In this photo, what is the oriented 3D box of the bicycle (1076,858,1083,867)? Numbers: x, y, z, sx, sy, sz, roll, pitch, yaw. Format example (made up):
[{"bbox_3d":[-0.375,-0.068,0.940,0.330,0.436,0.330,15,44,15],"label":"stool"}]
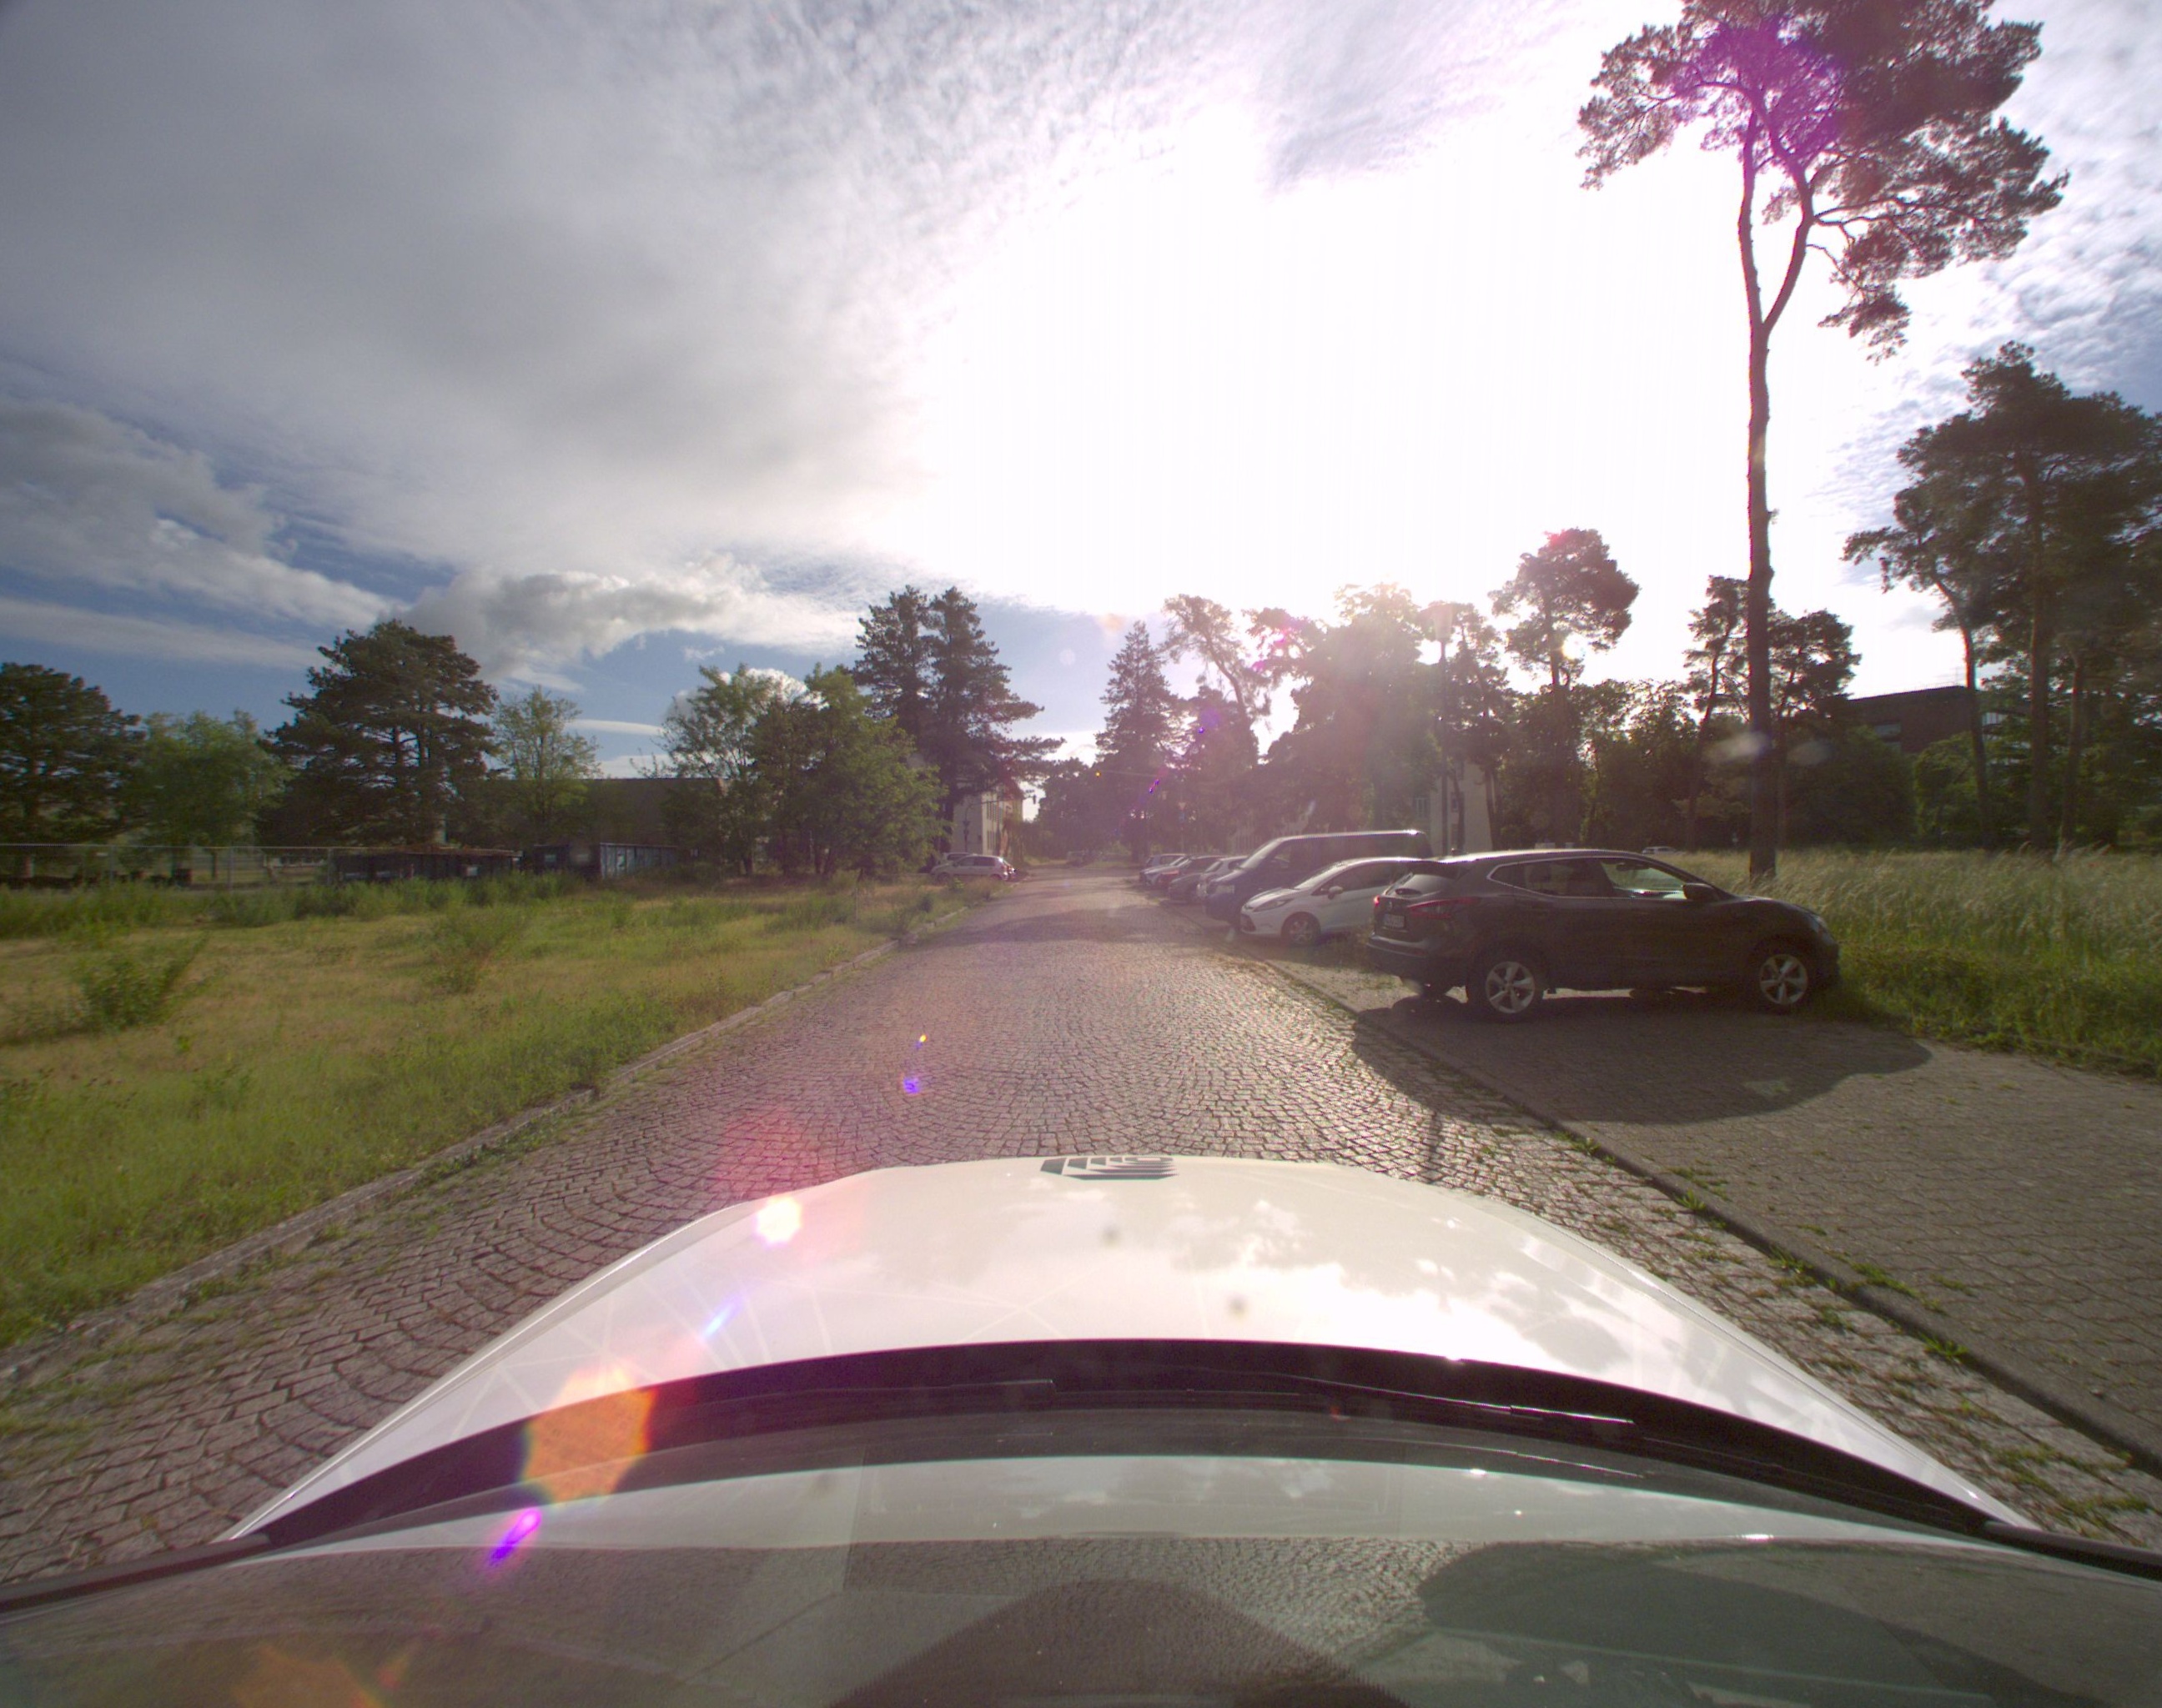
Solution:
[{"bbox_3d":[-0.199,0.929,88.508,0.726,0.999,1.798,-1,1,-1],"label":"bicycle"}]

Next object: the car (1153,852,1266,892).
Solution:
[{"bbox_3d":[5.237,0.720,33.466,4.328,1.473,1.739,-1,-1,-1],"label":"car"}]

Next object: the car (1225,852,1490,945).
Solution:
[{"bbox_3d":[4.902,0.760,14.800,4.183,1.470,1.805,-1,-1,-5],"label":"car"}]

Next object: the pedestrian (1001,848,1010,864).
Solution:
[{"bbox_3d":[-9.647,0.271,104.249,0.982,1.963,0.932,-1,-1,-1],"label":"pedestrian"}]

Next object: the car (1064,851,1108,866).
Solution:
[{"bbox_3d":[0.673,0.575,108.052,5.510,1.916,2.243,0,-1,-15],"label":"car"}]

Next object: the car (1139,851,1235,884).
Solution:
[{"bbox_3d":[5.291,0.680,41.141,4.533,1.505,1.931,-1,-1,-3],"label":"car"}]

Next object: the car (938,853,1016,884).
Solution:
[{"bbox_3d":[-5.394,0.760,42.678,3.818,1.429,1.857,2,-1,-2],"label":"car"}]

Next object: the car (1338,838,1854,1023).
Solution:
[{"bbox_3d":[5.071,0.708,8.449,4.179,1.589,1.876,-1,-1,-2],"label":"car"}]

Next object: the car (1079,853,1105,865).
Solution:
[{"bbox_3d":[1.375,0.659,104.501,3.036,1.465,1.712,0,-1,-14],"label":"car"}]

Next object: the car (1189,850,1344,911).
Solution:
[{"bbox_3d":[5.085,0.715,22.668,3.862,1.530,1.807,-1,-1,-1],"label":"car"}]

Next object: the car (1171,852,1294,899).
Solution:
[{"bbox_3d":[5.230,0.731,28.450,3.939,1.495,1.771,-1,-1,-1],"label":"car"}]

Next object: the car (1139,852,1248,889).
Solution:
[{"bbox_3d":[4.880,0.718,35.729,4.494,1.473,1.848,-1,-1,-1],"label":"car"}]

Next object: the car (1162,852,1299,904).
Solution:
[{"bbox_3d":[4.616,0.724,25.515,3.939,1.467,1.830,-1,-1,-1],"label":"car"}]

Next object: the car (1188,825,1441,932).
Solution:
[{"bbox_3d":[4.821,0.491,17.312,4.720,1.928,1.991,-3,-1,-2],"label":"car"}]

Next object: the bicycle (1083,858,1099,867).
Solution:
[{"bbox_3d":[1.124,0.929,93.146,1.788,0.999,0.644,-1,1,-2],"label":"bicycle"}]

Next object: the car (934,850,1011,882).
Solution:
[{"bbox_3d":[-5.966,0.647,45.361,4.115,1.600,1.855,2,-1,-6],"label":"car"}]

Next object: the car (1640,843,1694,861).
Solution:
[{"bbox_3d":[56.988,-0.160,79.208,3.923,1.679,1.854,-1,-1,-3],"label":"car"}]

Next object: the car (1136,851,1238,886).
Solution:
[{"bbox_3d":[4.964,0.678,38.510,4.499,1.473,1.892,-1,-1,-5],"label":"car"}]

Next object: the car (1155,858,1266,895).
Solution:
[{"bbox_3d":[4.869,0.839,31.080,3.939,1.261,1.726,-1,-1,-1],"label":"car"}]

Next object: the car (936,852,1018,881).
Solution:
[{"bbox_3d":[-6.080,0.742,47.899,4.577,1.455,1.901,2,1,-4],"label":"car"}]

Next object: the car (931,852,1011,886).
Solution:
[{"bbox_3d":[-5.333,0.733,40.025,3.674,1.473,1.848,2,-1,-3],"label":"car"}]

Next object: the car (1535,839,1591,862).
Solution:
[{"bbox_3d":[56.355,-0.407,95.302,5.141,2.536,2.264,-1,-1,0],"label":"car"}]
